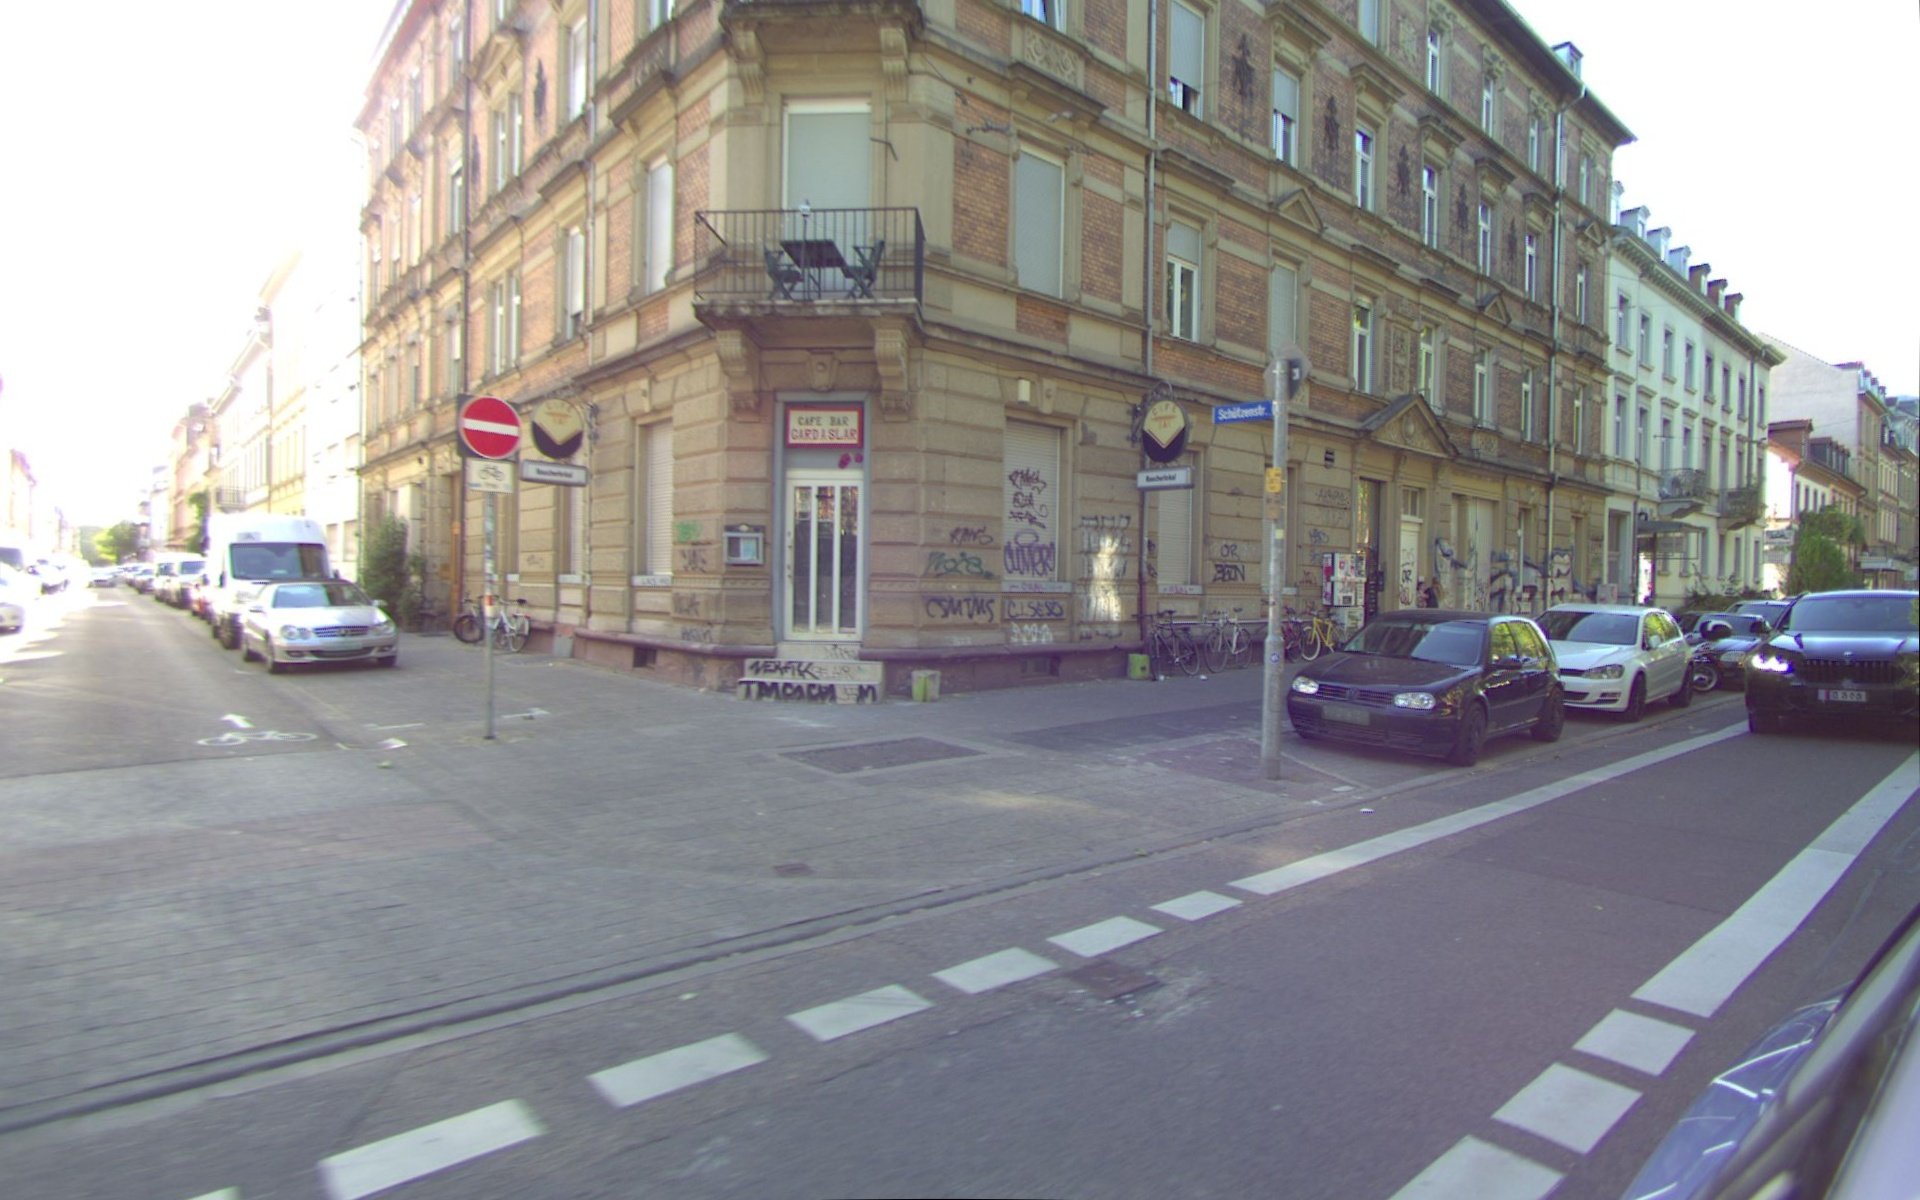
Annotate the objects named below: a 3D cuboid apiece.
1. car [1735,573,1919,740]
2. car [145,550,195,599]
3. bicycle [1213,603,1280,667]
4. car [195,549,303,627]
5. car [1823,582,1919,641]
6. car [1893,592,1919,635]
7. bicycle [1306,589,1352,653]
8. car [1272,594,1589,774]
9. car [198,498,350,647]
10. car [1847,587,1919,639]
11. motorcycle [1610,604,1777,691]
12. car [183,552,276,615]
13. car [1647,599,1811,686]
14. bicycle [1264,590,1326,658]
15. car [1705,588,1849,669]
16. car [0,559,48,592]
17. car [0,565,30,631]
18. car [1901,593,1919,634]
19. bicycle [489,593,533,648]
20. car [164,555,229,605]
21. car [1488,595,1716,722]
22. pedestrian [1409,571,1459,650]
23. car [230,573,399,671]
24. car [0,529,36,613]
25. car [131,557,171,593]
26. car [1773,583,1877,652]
[{"bbox_3d":[11.302,0.612,12.357,4.546,1.726,1.948,1,-1,-39],"label":"car"},{"bbox_3d":[-38.319,-1.249,49.063,1.688,2.299,4.192,0,1,-41],"label":"car"},{"bbox_3d":[4.837,0.570,17.037,1.348,1.013,0.379,0,1,-40],"label":"bicycle"},{"bbox_3d":[-18.901,-0.367,26.823,1.746,1.889,4.670,0,2,-43],"label":"car"},{"bbox_3d":[27.382,0.303,30.370,3.840,1.523,1.635,-1,6,-42],"label":"car"},{"bbox_3d":[35.998,0.513,37.585,3.299,1.524,1.542,0,3,-40],"label":"car"},{"bbox_3d":[6.943,0.388,19.031,1.119,1.168,0.274,0,1,-40],"label":"bicycle"},{"bbox_3d":[5.089,0.713,10.694,3.992,1.438,1.651,-1,4,-44],"label":"car"},{"bbox_3d":[-14.965,-0.596,21.925,2.201,2.810,5.538,0,1,-40],"label":"car"},{"bbox_3d":[31.957,0.391,34.636,3.838,1.523,1.730,0,6,-40],"label":"car"},{"bbox_3d":[11.948,0.746,16.567,2.121,1.305,0.637,1,1,28],"label":"motorcycle"},{"bbox_3d":[-22.567,-0.534,31.199,1.965,1.816,3.830,0,1,-41],"label":"car"},{"bbox_3d":[13.951,0.683,18.301,3.660,1.288,1.652,-1,4,-42],"label":"car"},{"bbox_3d":[6.014,0.414,18.157,1.348,1.168,0.379,0,1,-40],"label":"bicycle"},{"bbox_3d":[17.166,0.533,21.220,3.674,1.469,1.610,0,3,-40],"label":"car"},{"bbox_3d":[-46.284,-1.229,50.004,1.730,1.549,3.994,0,1,-41],"label":"car"},{"bbox_3d":[-22.495,-0.080,23.241,1.634,1.424,4.143,0,1,-42],"label":"car"},{"bbox_3d":[39.131,0.556,40.484,3.621,1.587,1.729,0,3,-40],"label":"car"},{"bbox_3d":[-8.466,0.375,19.072,0.372,0.973,1.370,0,1,-40],"label":"bicycle"},{"bbox_3d":[-29.691,-0.802,39.311,1.688,1.816,4.192,0,1,-41],"label":"car"},{"bbox_3d":[9.089,0.700,14.208,3.943,1.438,1.605,-1,4,-41],"label":"car"},{"bbox_3d":[10.273,0.210,21.936,0.753,1.677,0.715,0,1,-42],"label":"pedestrian"},{"bbox_3d":[-10.686,0.273,16.642,1.672,1.394,3.992,0,2,-43],"label":"car"},{"bbox_3d":[-29.726,-0.916,30.911,2.111,2.428,5.640,0,1,-42],"label":"car"},{"bbox_3d":[-48.840,-1.502,61.076,1.688,2.078,4.192,0,1,-41],"label":"car"},{"bbox_3d":[21.665,0.391,25.327,2.771,1.561,1.513,0,3,-41],"label":"car"}]
